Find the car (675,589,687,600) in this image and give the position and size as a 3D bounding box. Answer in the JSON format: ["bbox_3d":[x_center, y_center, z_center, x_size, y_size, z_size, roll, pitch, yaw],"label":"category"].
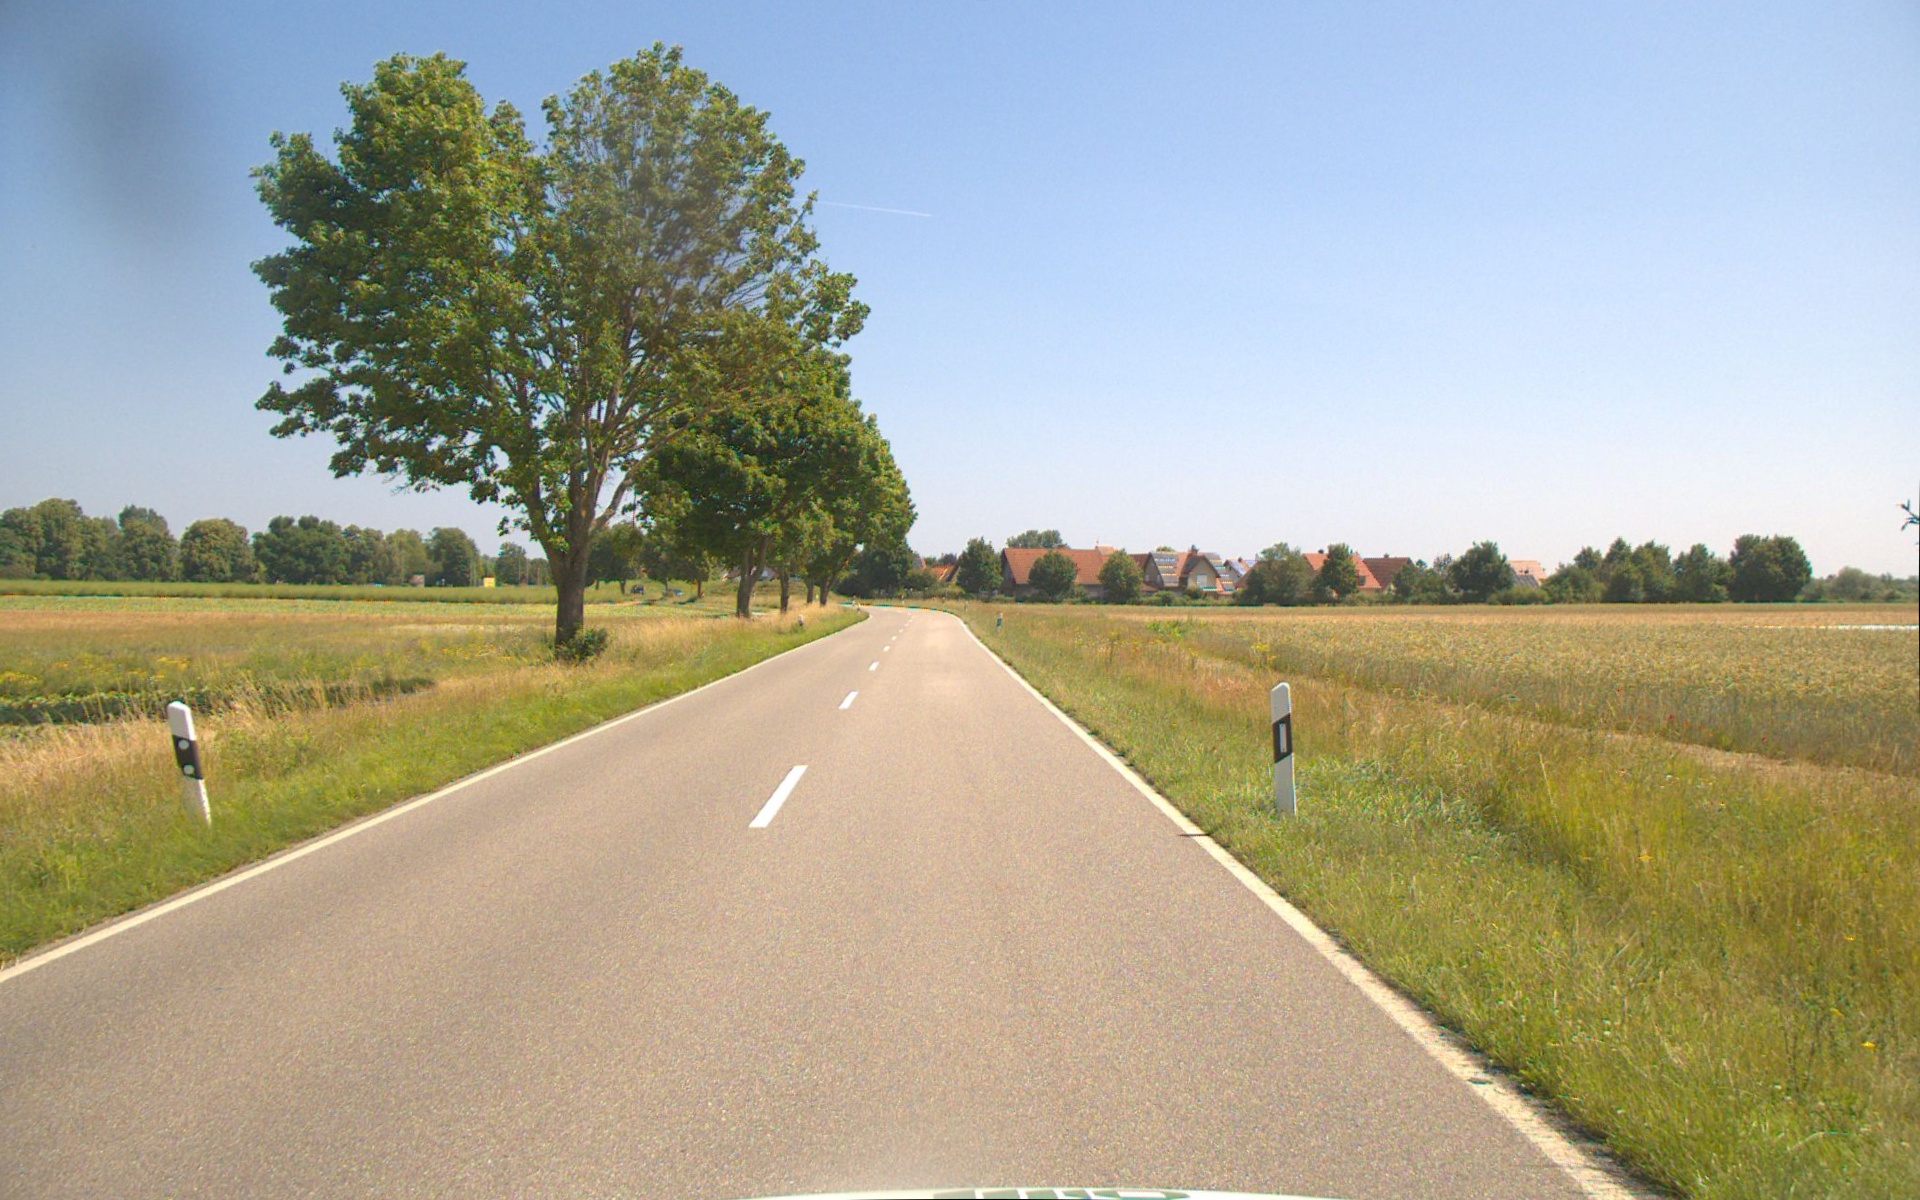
[{"bbox_3d":[-41.924,-0.836,248.478,1.568,1.698,3.405,2,0,-12],"label":"car"}]

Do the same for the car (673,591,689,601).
[{"bbox_3d":[-42.452,-0.630,251.311,1.620,1.454,4.155,-3,1,-20],"label":"car"}]
